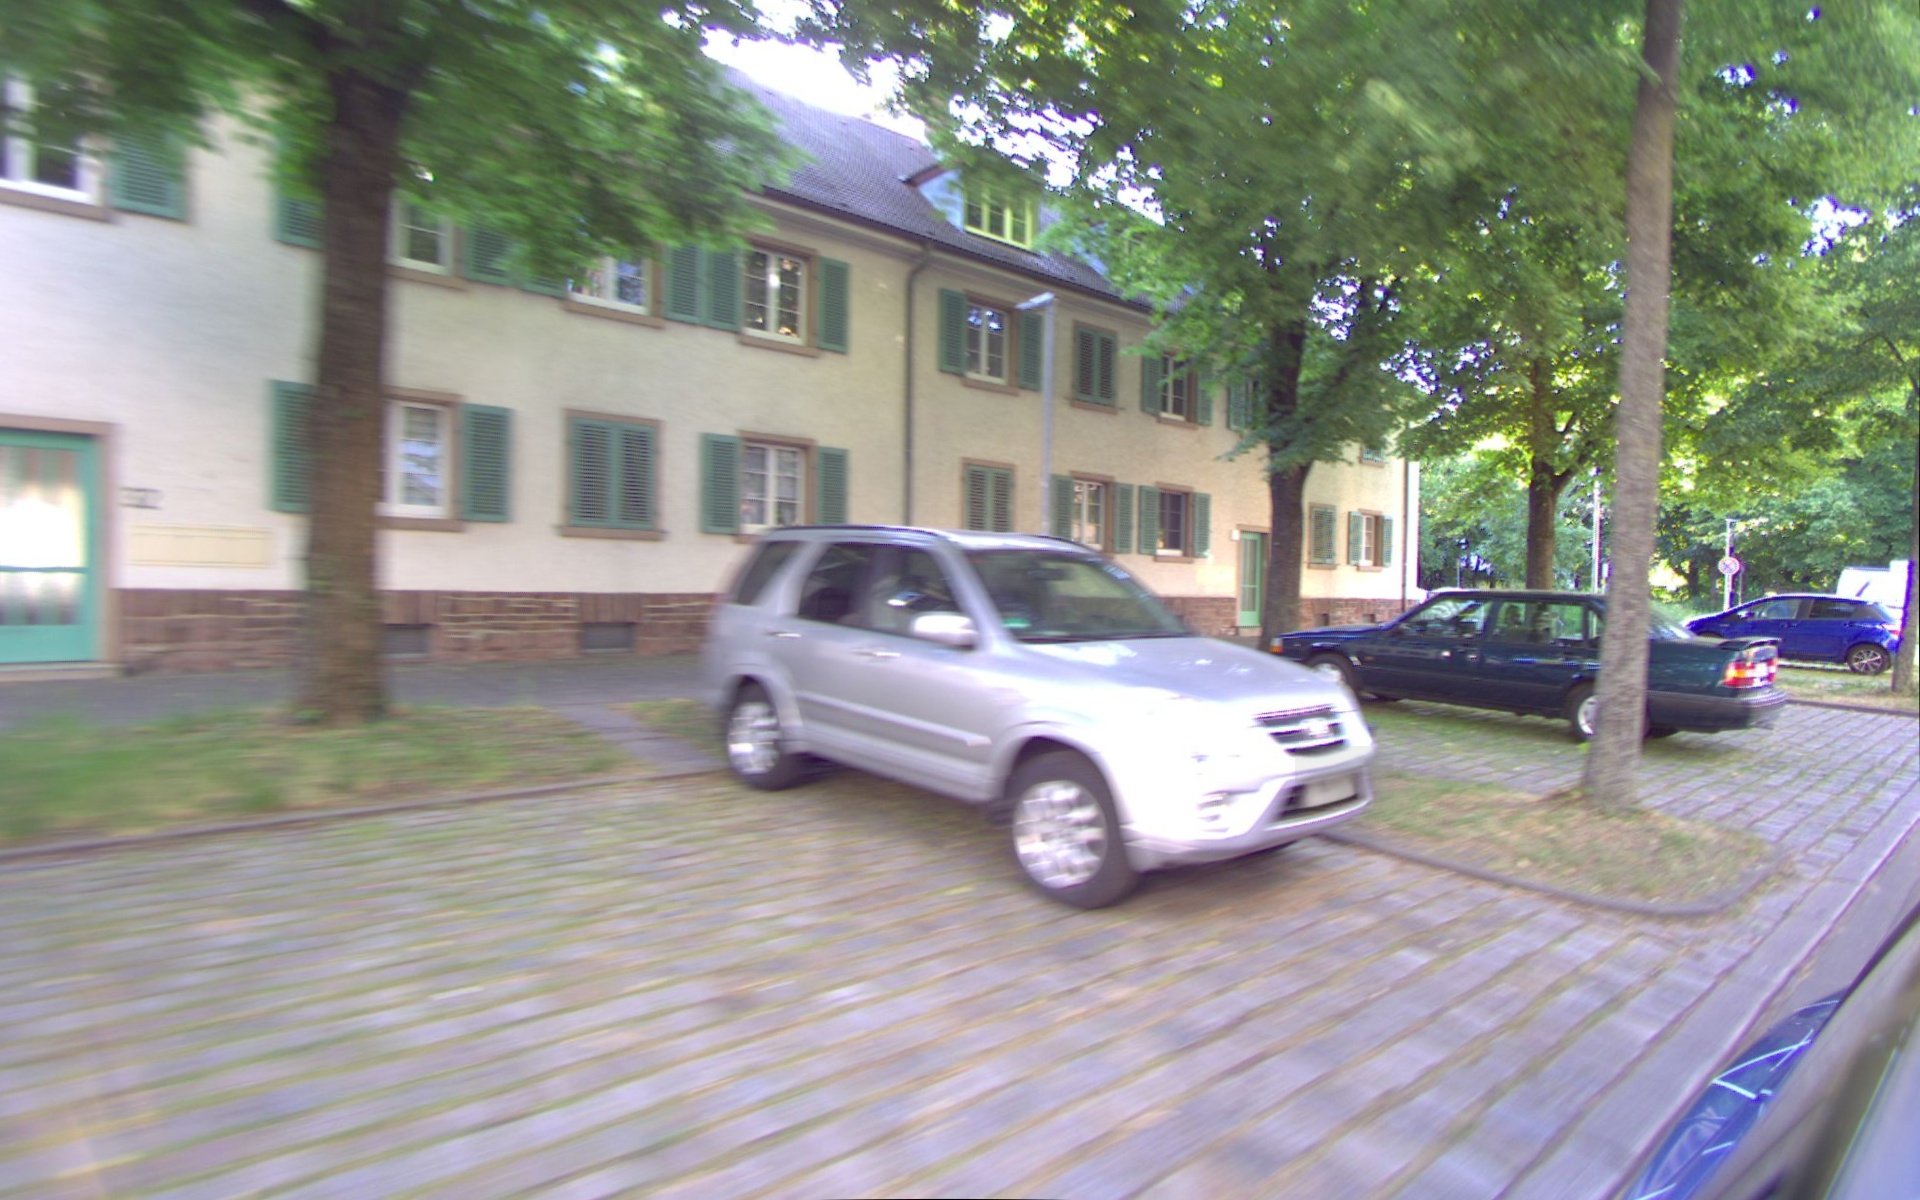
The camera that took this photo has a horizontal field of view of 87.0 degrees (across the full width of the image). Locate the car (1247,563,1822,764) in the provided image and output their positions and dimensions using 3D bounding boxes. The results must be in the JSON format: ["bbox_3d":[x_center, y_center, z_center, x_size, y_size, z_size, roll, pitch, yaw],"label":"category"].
[{"bbox_3d":[5.730,0.433,10.695,1.909,1.459,4.903,-1,5,-42],"label":"car"}]

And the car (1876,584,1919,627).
[{"bbox_3d":[38.168,0.234,38.810,1.945,1.594,4.293,-1,2,-41],"label":"car"}]

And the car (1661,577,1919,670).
[{"bbox_3d":[17.107,0.384,20.856,1.966,1.574,3.994,-1,4,-42],"label":"car"}]

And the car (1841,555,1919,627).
[{"bbox_3d":[36.155,-0.329,37.080,2.200,2.646,5.622,-1,2,-41],"label":"car"}]

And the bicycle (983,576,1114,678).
[{"bbox_3d":[1.149,0.311,12.745,0.627,1.177,1.906,1,1,41],"label":"bicycle"}]

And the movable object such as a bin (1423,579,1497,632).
[{"bbox_3d":[16.770,0.152,33.969,1.561,1.678,1.641,-1,2,-33],"label":"movable object such as a bin"}]

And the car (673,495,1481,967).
[{"bbox_3d":[0.268,0.313,5.910,1.909,1.690,4.485,1,4,-42],"label":"car"}]

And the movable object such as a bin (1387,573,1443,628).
[{"bbox_3d":[15.836,-0.005,35.248,1.128,1.850,1.387,-1,2,-33],"label":"movable object such as a bin"}]
